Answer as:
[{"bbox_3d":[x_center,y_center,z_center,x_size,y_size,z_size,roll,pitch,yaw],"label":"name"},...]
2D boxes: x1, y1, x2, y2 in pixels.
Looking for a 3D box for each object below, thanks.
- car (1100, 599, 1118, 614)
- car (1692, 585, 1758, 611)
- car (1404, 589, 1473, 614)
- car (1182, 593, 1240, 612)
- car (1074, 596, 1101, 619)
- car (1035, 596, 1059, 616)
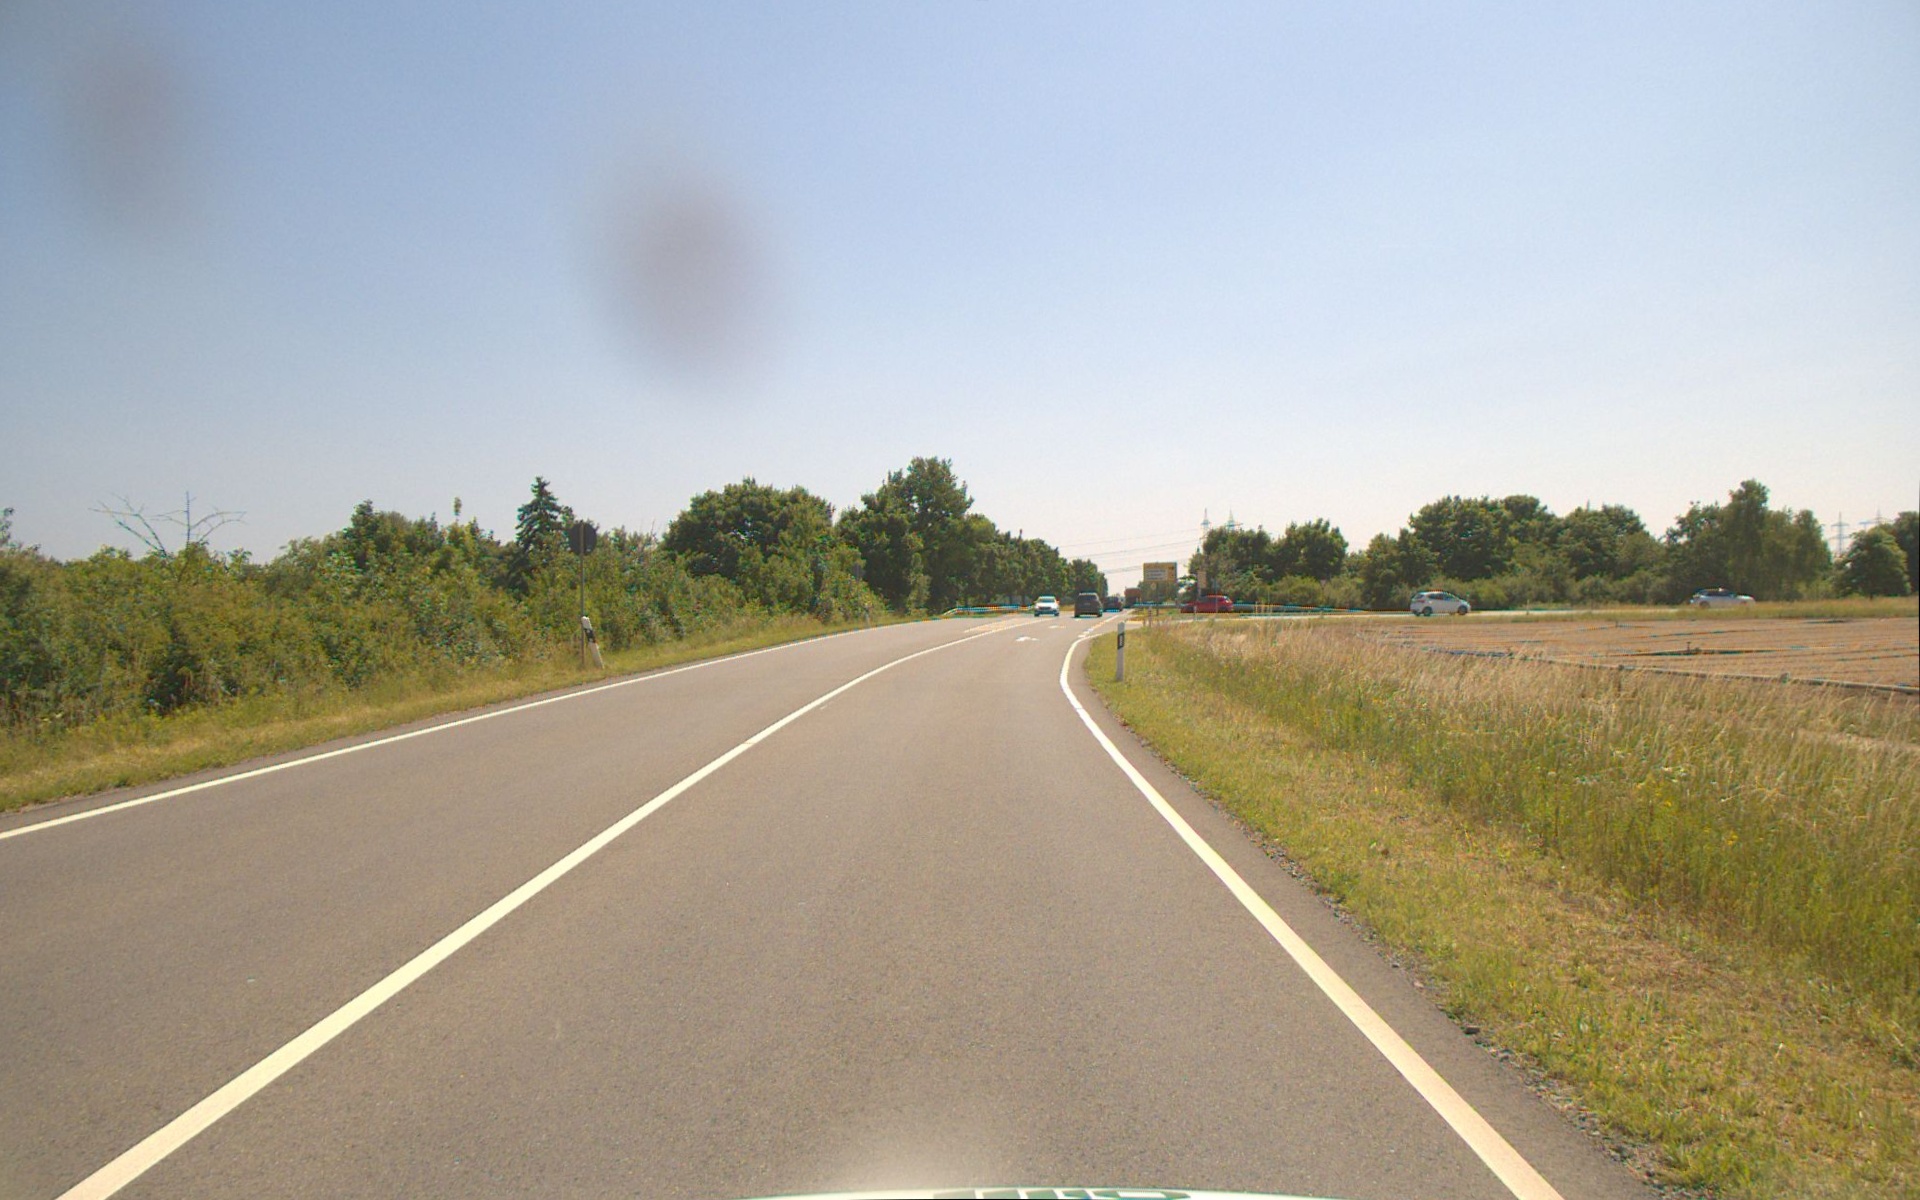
[{"bbox_3d":[13.879,0.594,153.583,1.609,1.364,4.042,1,0,5],"label":"car"},{"bbox_3d":[51.787,-0.133,111.980,3.904,1.652,1.645,-1,0,20],"label":"car"},{"bbox_3d":[32.955,0.083,113.926,4.049,1.652,2.068,-1,0,-6],"label":"car"},{"bbox_3d":[19.071,0.183,125.763,4.067,1.443,1.780,-1,-1,21],"label":"car"},{"bbox_3d":[9.088,0.525,117.849,1.845,1.544,4.042,1,0,5],"label":"car"},{"bbox_3d":[6.690,0.458,127.119,1.797,1.443,4.717,1,0,3],"label":"car"}]
